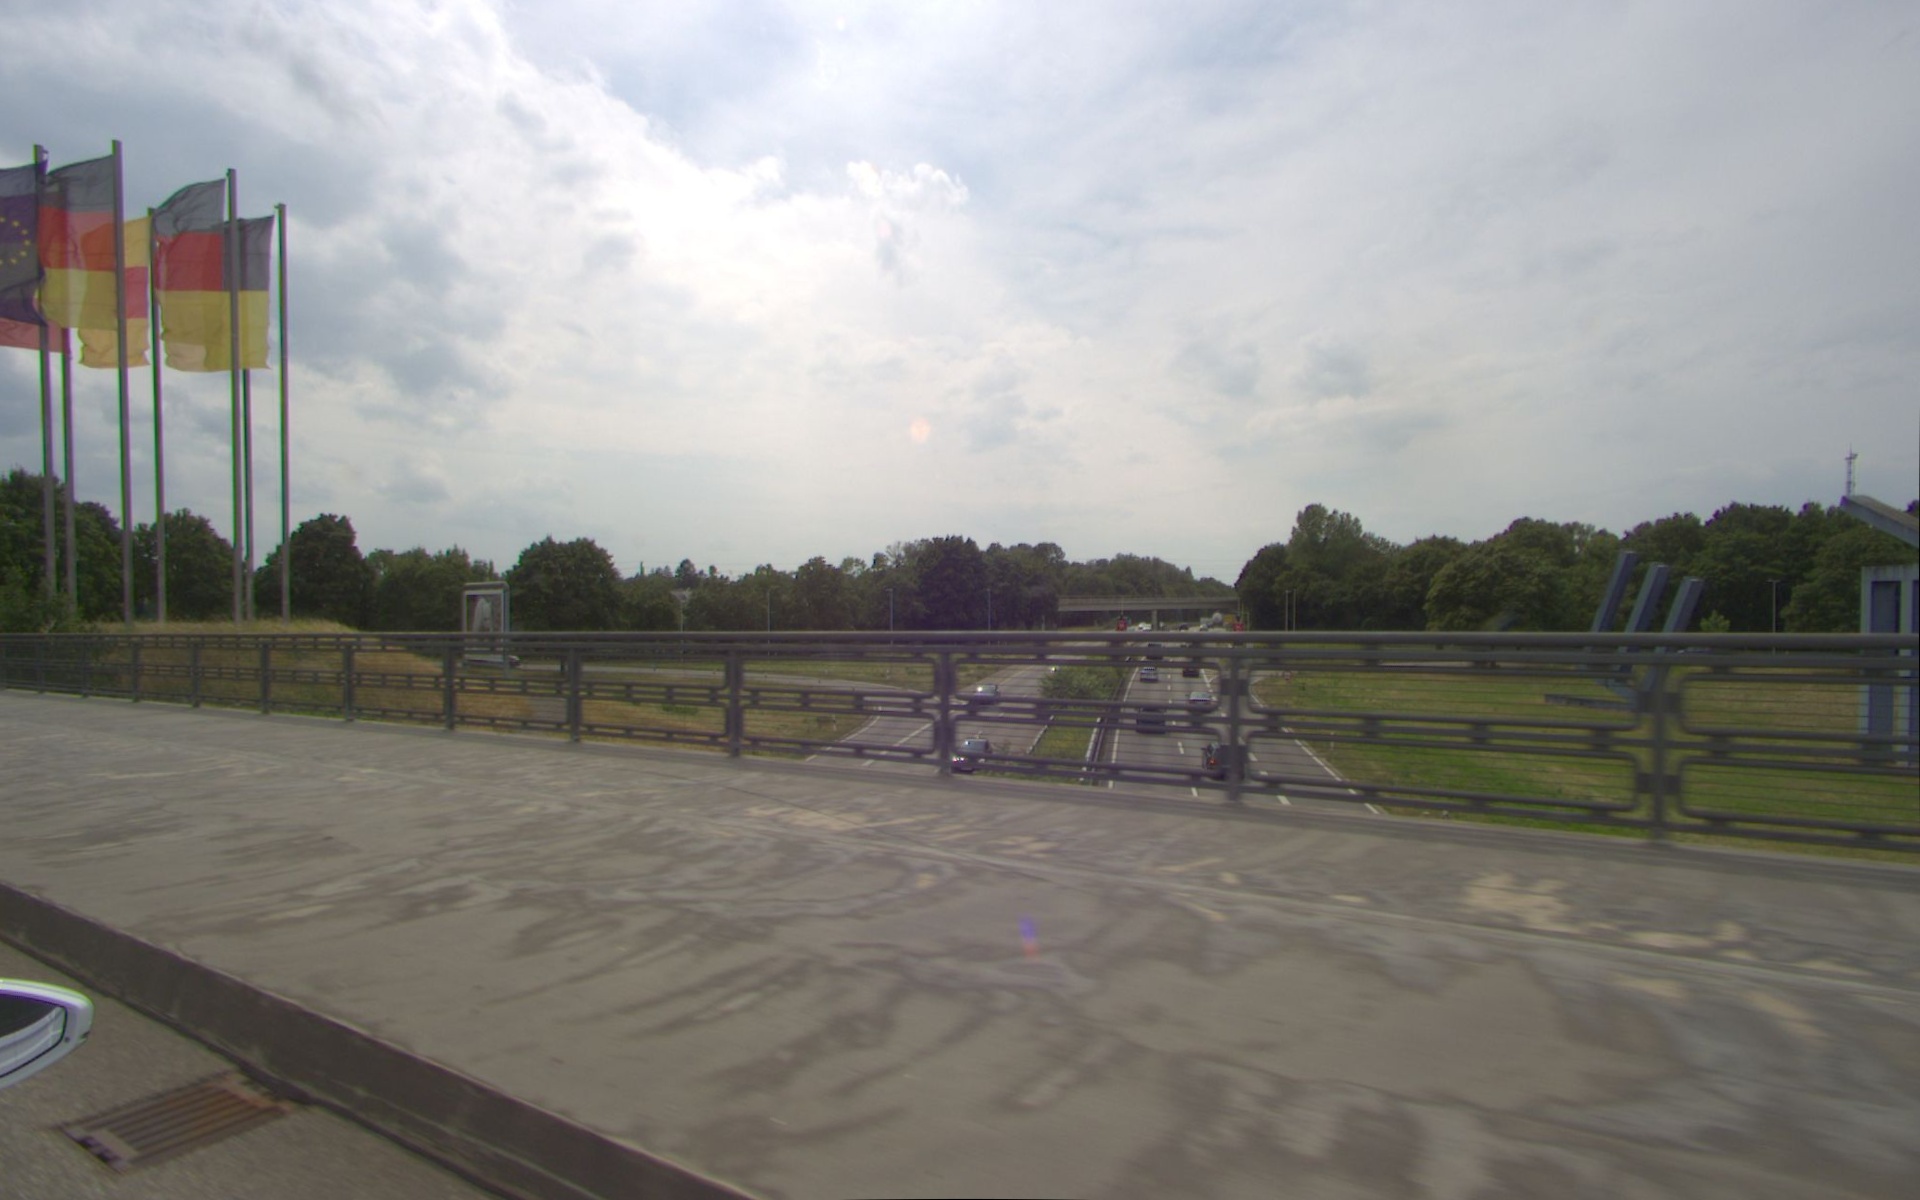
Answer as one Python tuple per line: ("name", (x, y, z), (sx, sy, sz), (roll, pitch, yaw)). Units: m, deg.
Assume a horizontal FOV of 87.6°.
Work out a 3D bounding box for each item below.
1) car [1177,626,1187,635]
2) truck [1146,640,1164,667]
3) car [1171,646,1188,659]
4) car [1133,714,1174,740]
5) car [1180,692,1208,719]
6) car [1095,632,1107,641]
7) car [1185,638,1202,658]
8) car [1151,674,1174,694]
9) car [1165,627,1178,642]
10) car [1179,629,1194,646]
("car", (49.169, 6.840, 221.788), (2.043, 1.907, 4.360), (0, 0, 11))
("truck", (24.732, 6.766, 127.127), (1.961, 3.191, 4.379), (-1, 0, 8))
("car", (28.781, 6.883, 131.573), (1.962, 1.606, 3.998), (-1, 0, 9))
("car", (11.879, 7.760, 61.297), (1.964, 1.253, 3.996), (0, -3, 18))
("car", (17.097, 7.701, 73.331), (1.963, 1.606, 3.997), (-1, 0, 12))
("car", (25.148, 6.518, 178.551), (1.663, 1.566, 3.996), (0, -1, 15))
("car", (32.039, 6.530, 137.578), (1.962, 2.566, 3.998), (-1, 0, 9))
("car", (19.411, 8.022, 95.909), (1.963, 1.606, 3.996), (-1, 0, 14))
("car", (37.944, 6.147, 179.790), (2.043, 2.523, 4.360), (0, 0, 11))
("car", (34.446, 5.658, 152.633), (2.043, 2.523, 4.360), (0, 0, 11))
